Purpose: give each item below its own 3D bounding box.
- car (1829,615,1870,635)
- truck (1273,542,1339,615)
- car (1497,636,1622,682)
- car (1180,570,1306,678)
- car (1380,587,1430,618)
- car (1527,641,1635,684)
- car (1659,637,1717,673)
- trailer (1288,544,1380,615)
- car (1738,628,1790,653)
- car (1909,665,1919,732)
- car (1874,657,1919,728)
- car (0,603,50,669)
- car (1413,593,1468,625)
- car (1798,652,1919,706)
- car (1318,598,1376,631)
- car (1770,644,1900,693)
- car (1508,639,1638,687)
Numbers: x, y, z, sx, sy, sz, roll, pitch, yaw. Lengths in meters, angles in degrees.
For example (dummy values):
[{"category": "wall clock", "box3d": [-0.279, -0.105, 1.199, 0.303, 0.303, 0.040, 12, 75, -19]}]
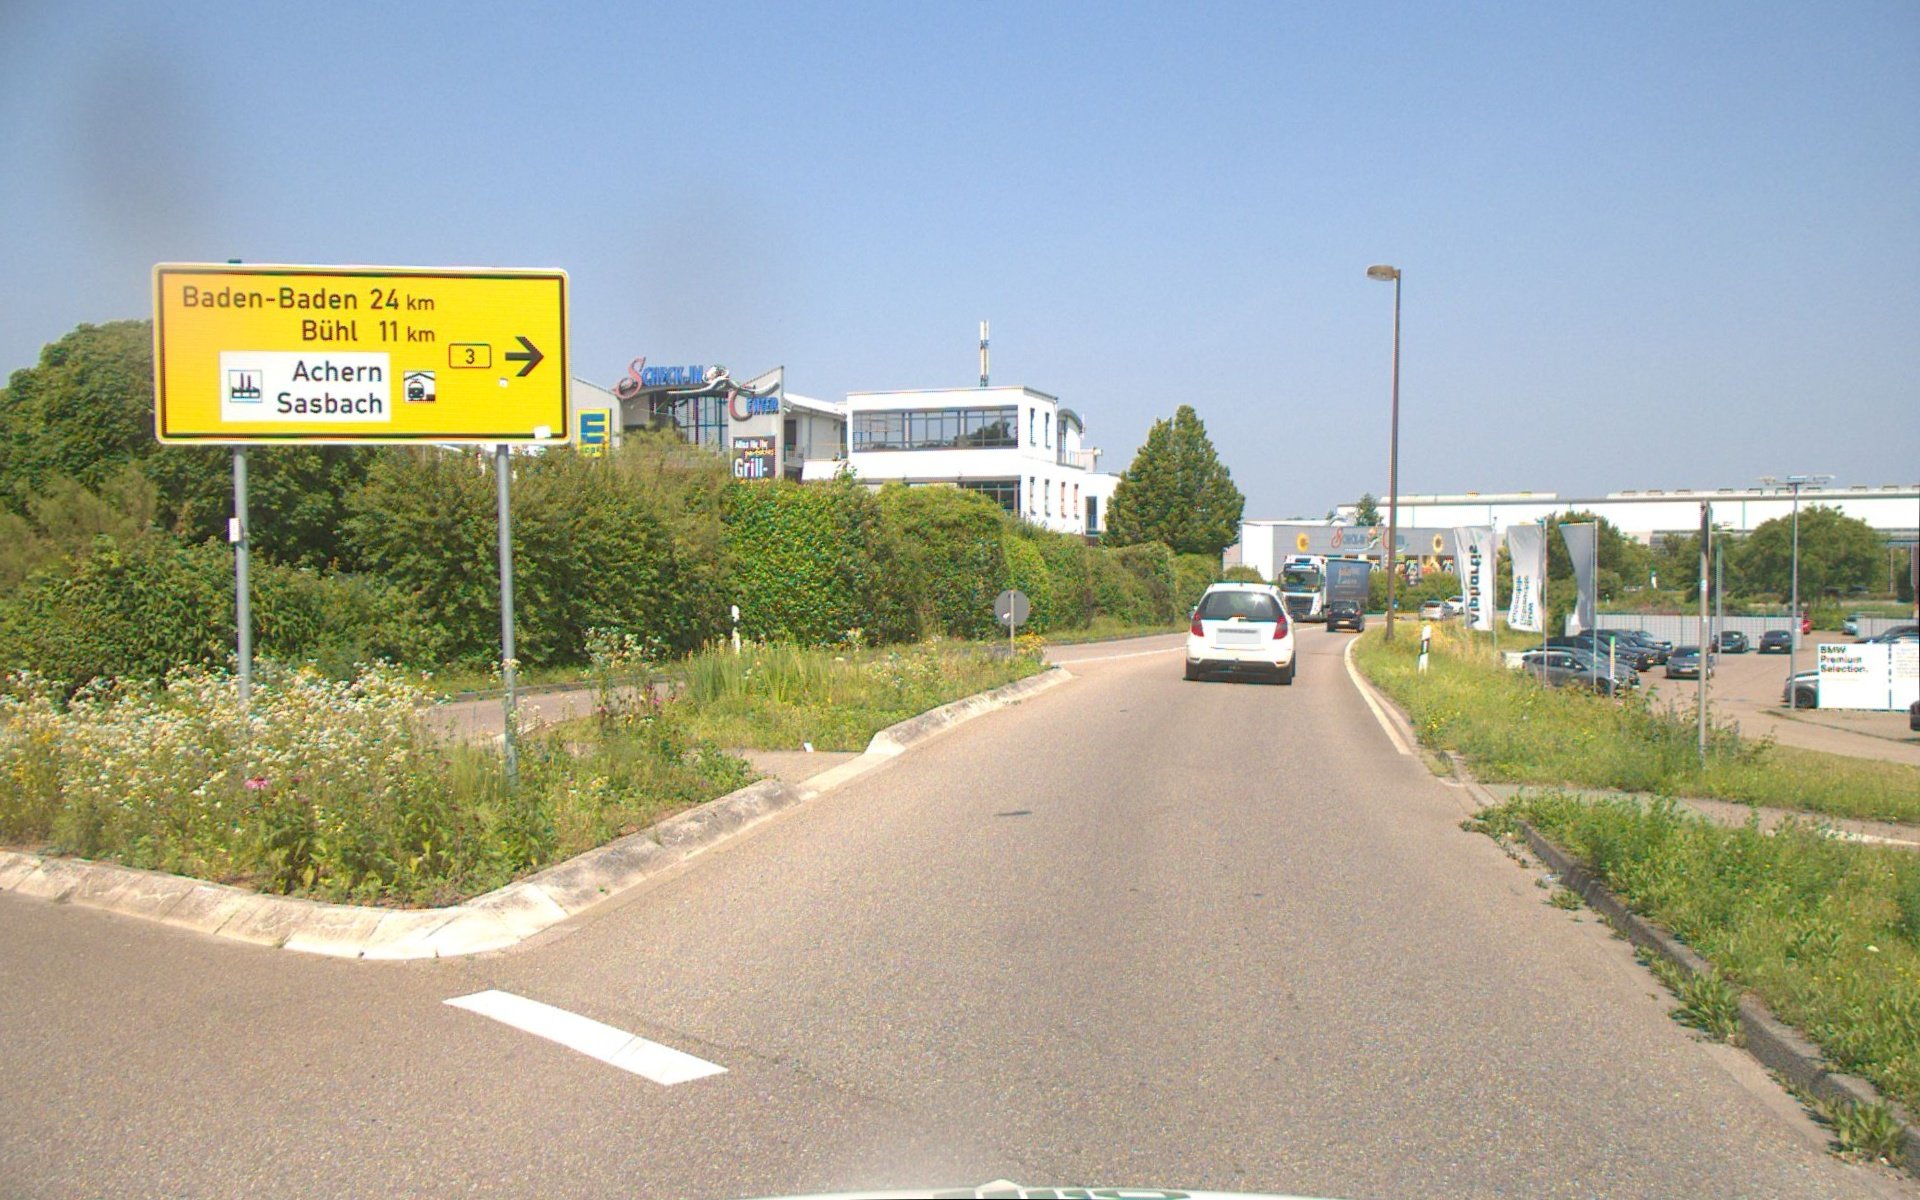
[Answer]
[{"category": "car", "box3d": [68.230, 1.928, 126.844, 1.963, 1.422, 3.979, 2, 0, 40]}, {"category": "truck", "box3d": [21.422, -1.280, 102.117, 2.464, 4.332, 6.105, 0, 0, 27]}, {"category": "car", "box3d": [22.727, 2.211, 62.790, 4.102, 1.549, 1.739, 2, 0, 45]}, {"category": "car", "box3d": [4.874, 0.375, 28.077, 1.743, 1.631, 3.896, 2, 1, 14]}, {"category": "car", "box3d": [31.196, 0.195, 115.843, 1.962, 2.049, 3.981, 1, 0, 38]}, {"category": "car", "box3d": [29.780, 2.964, 79.414, 1.840, 1.730, 4.574, -2, 2, -41]}, {"category": "car", "box3d": [33.710, 2.533, 76.517, 2.095, 1.483, 4.525, 2, 0, 28]}, {"category": "trailer", "box3d": [24.886, -1.233, 109.359, 2.618, 4.315, 14.552, 2, 0, 26]}, {"category": "car", "box3d": [49.618, 2.490, 102.081, 1.963, 1.422, 3.979, 2, 0, 40]}, {"category": "car", "box3d": [24.463, 2.294, 38.224, 3.902, 1.579, 2.001, 0, -2, 5]}, {"category": "car", "box3d": [25.163, 2.284, 40.478, 4.386, 1.669, 2.149, 1, -1, 5]}, {"category": "car", "box3d": [-24.870, 0.868, 41.310, 3.912, 1.601, 1.997, 0, -1, 29]}, {"category": "car", "box3d": [33.028, 0.621, 113.659, 1.967, 2.049, 3.971, 1, 0, 45]}, {"category": "car", "box3d": [30.116, 2.591, 54.954, 3.737, 1.549, 1.740, 2, 0, 43]}, {"category": "car", "box3d": [18.579, 0.690, 79.223, 1.793, 1.496, 4.406, 2, 0, 26]}, {"category": "car", "box3d": [31.019, 2.411, 58.662, 3.891, 1.550, 1.745, 1, 0, 36]}, {"category": "car", "box3d": [22.115, 2.251, 59.814, 1.675, 1.549, 4.110, 1, 0, -41]}]
